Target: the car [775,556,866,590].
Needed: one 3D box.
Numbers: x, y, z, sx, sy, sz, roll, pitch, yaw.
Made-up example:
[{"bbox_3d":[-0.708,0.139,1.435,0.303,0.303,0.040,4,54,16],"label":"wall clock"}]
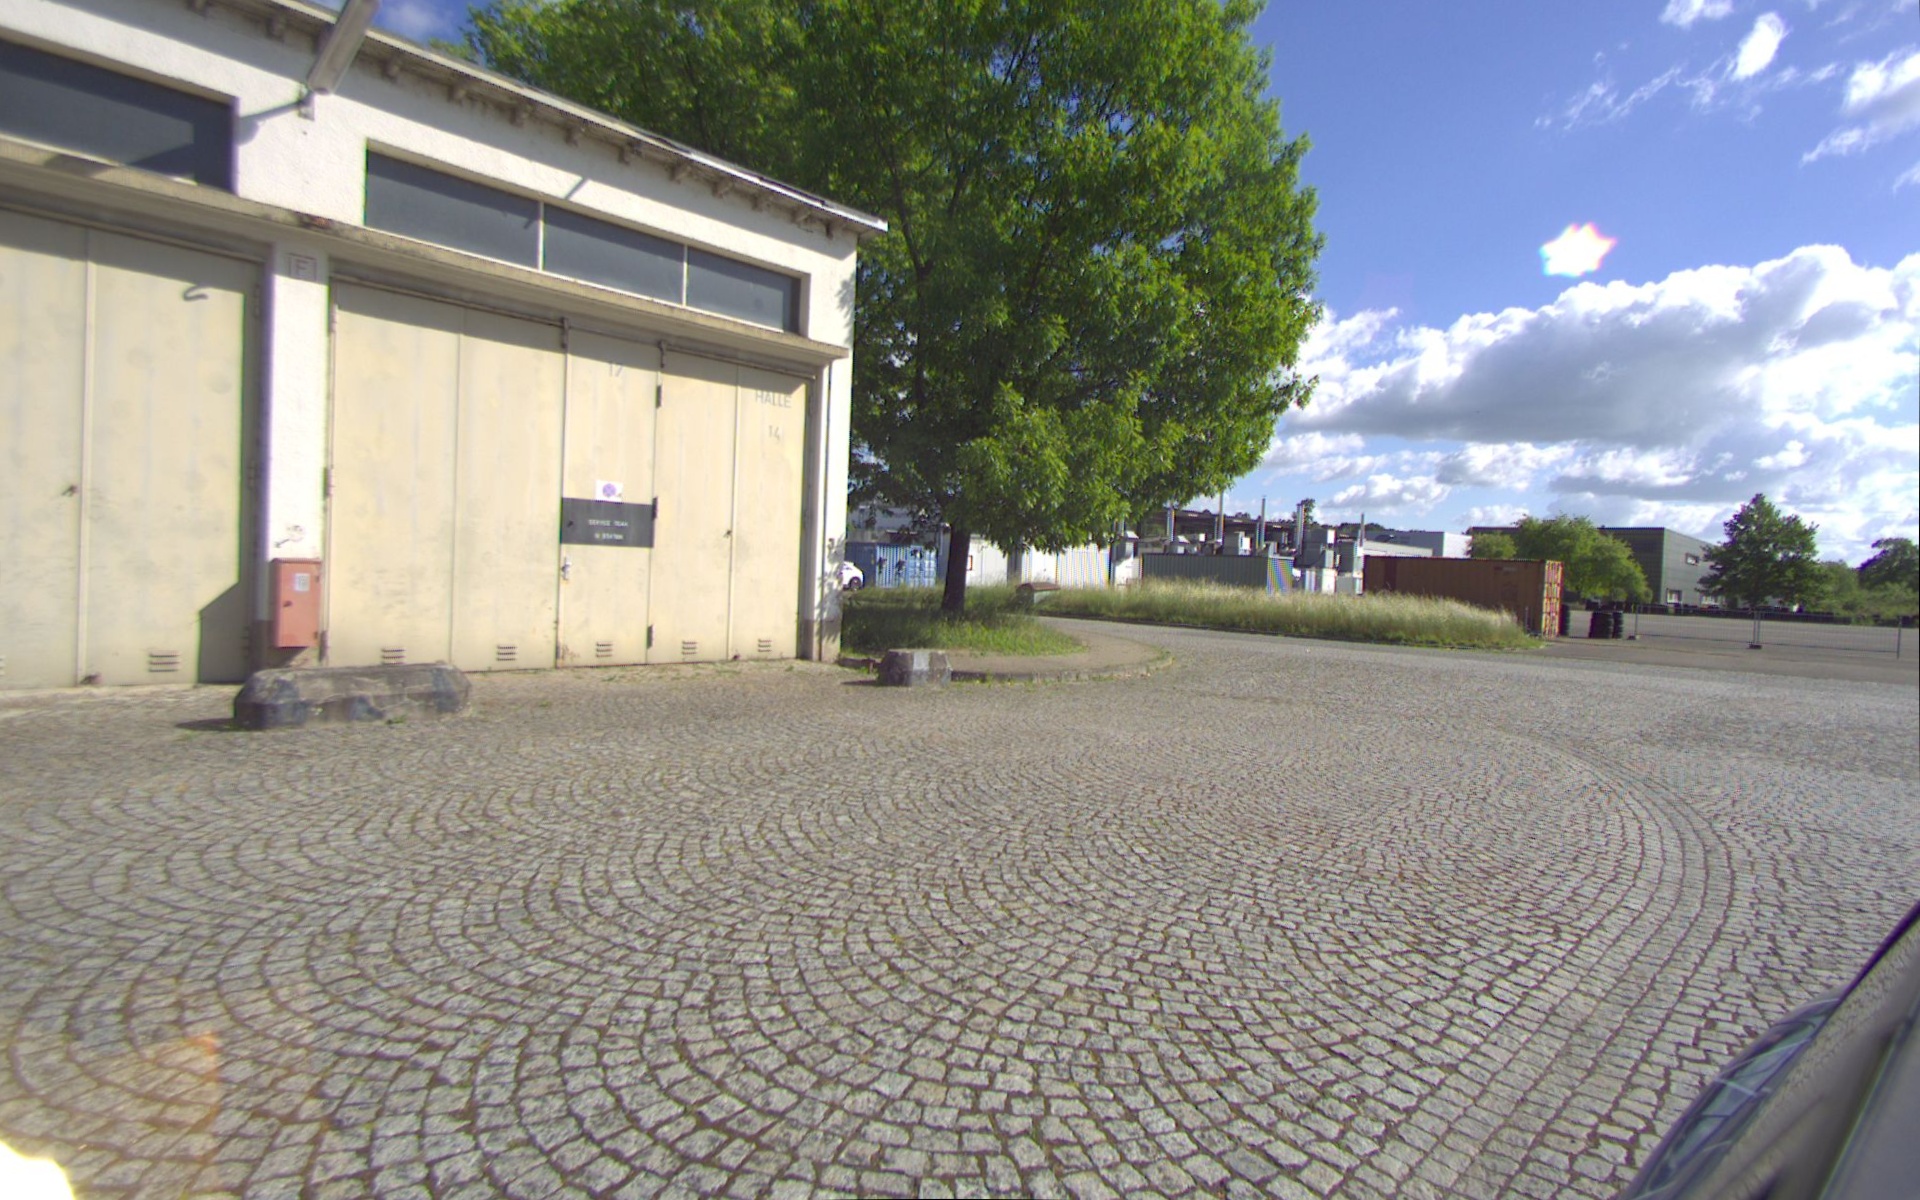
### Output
[{"bbox_3d":[-7.325,-1.415,53.415,1.993,1.668,4.449,4,2,42],"label":"car"}]
